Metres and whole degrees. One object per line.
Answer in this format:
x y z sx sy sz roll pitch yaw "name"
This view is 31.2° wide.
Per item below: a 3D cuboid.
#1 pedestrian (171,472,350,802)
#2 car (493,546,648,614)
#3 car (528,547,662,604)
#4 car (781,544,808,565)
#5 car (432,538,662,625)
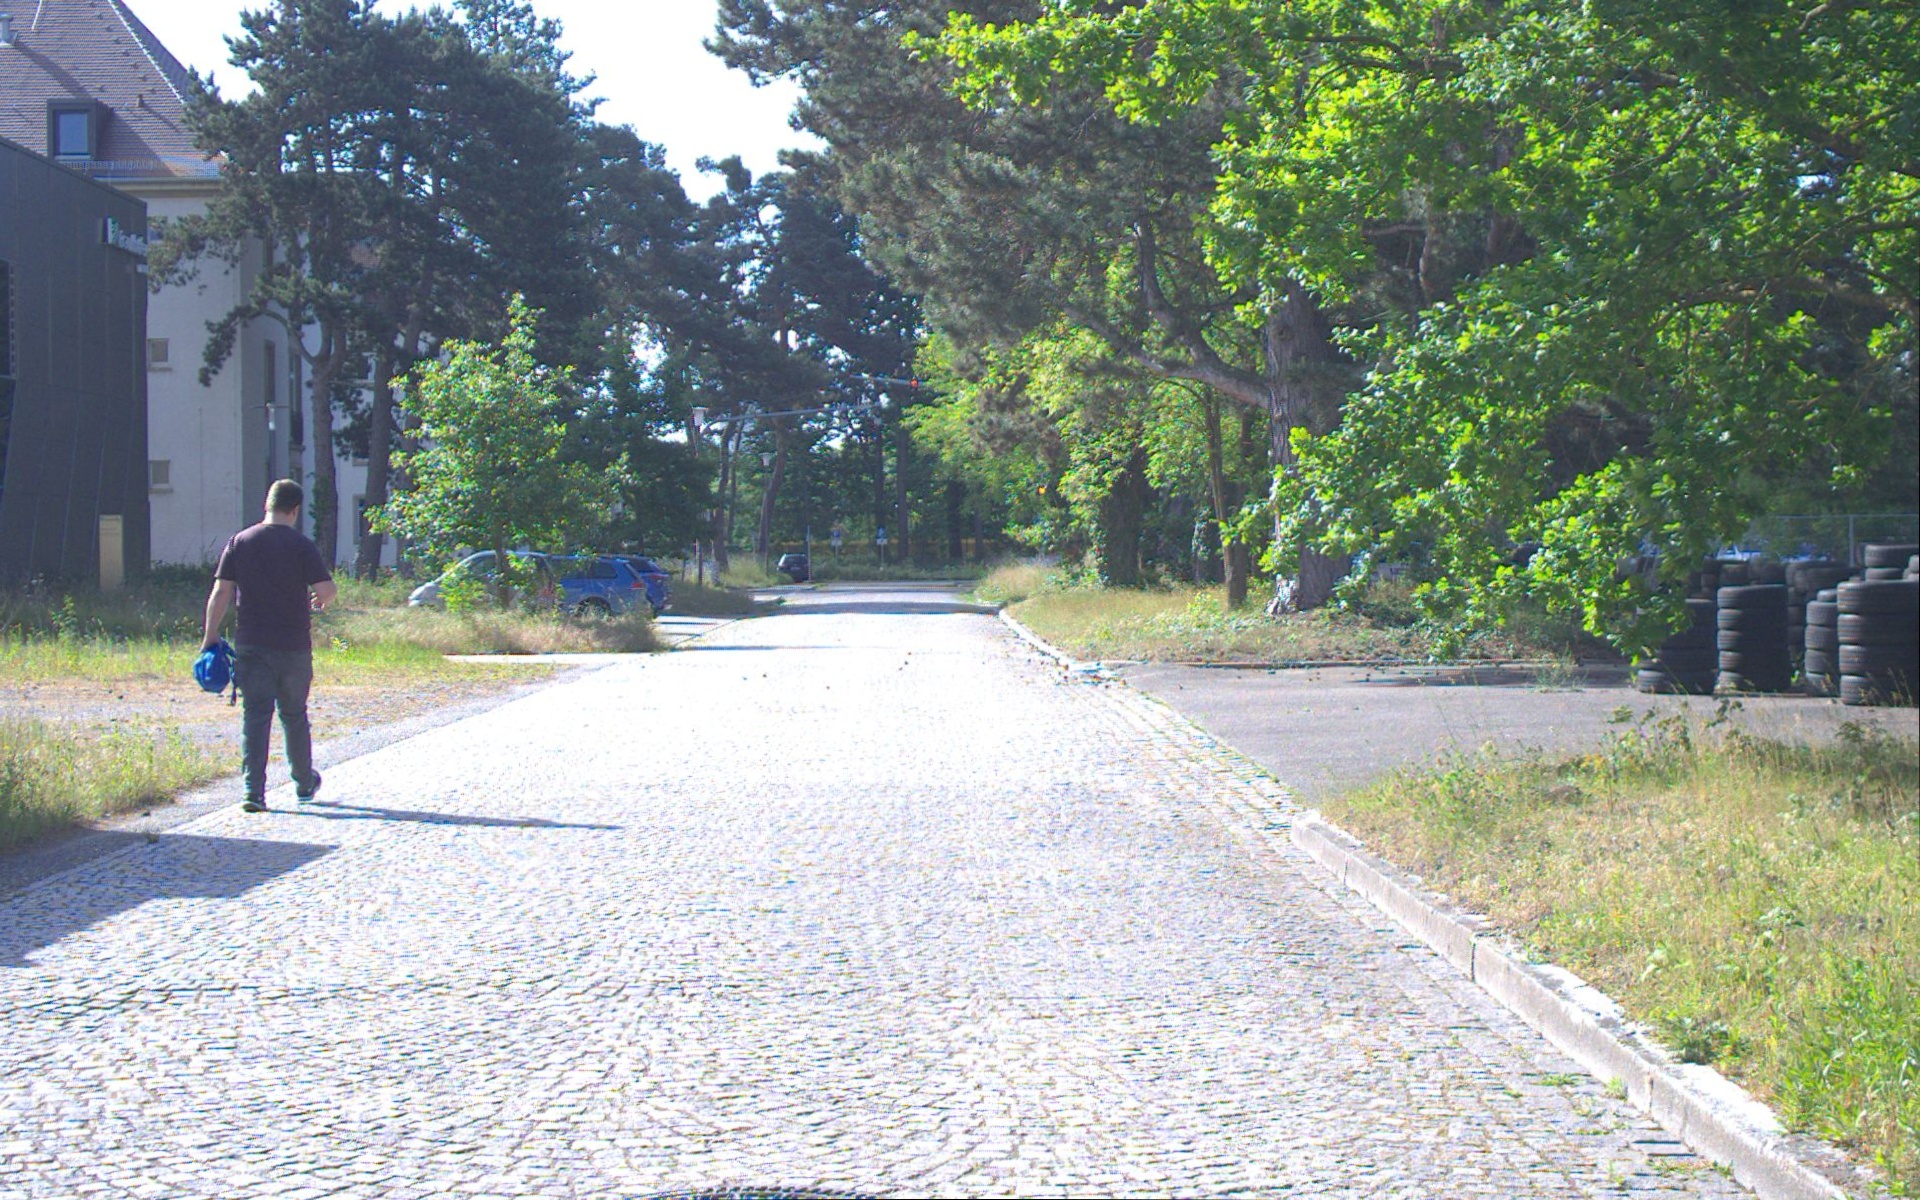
-3.879 0.195 19.133 0.795 1.774 1.068 1 1 -2 "pedestrian"
-7.545 -0.392 66.503 2.901 1.255 1.288 -1 1 -9 "car"
-8.056 -0.541 75.828 2.853 1.202 1.374 -1 1 -9 "car"
-8.772 -2.403 181.819 1.369 1.095 2.863 -1 1 -3 "car"
-7.104 -0.337 59.403 3.833 1.436 1.583 -1 1 -3 "car"
